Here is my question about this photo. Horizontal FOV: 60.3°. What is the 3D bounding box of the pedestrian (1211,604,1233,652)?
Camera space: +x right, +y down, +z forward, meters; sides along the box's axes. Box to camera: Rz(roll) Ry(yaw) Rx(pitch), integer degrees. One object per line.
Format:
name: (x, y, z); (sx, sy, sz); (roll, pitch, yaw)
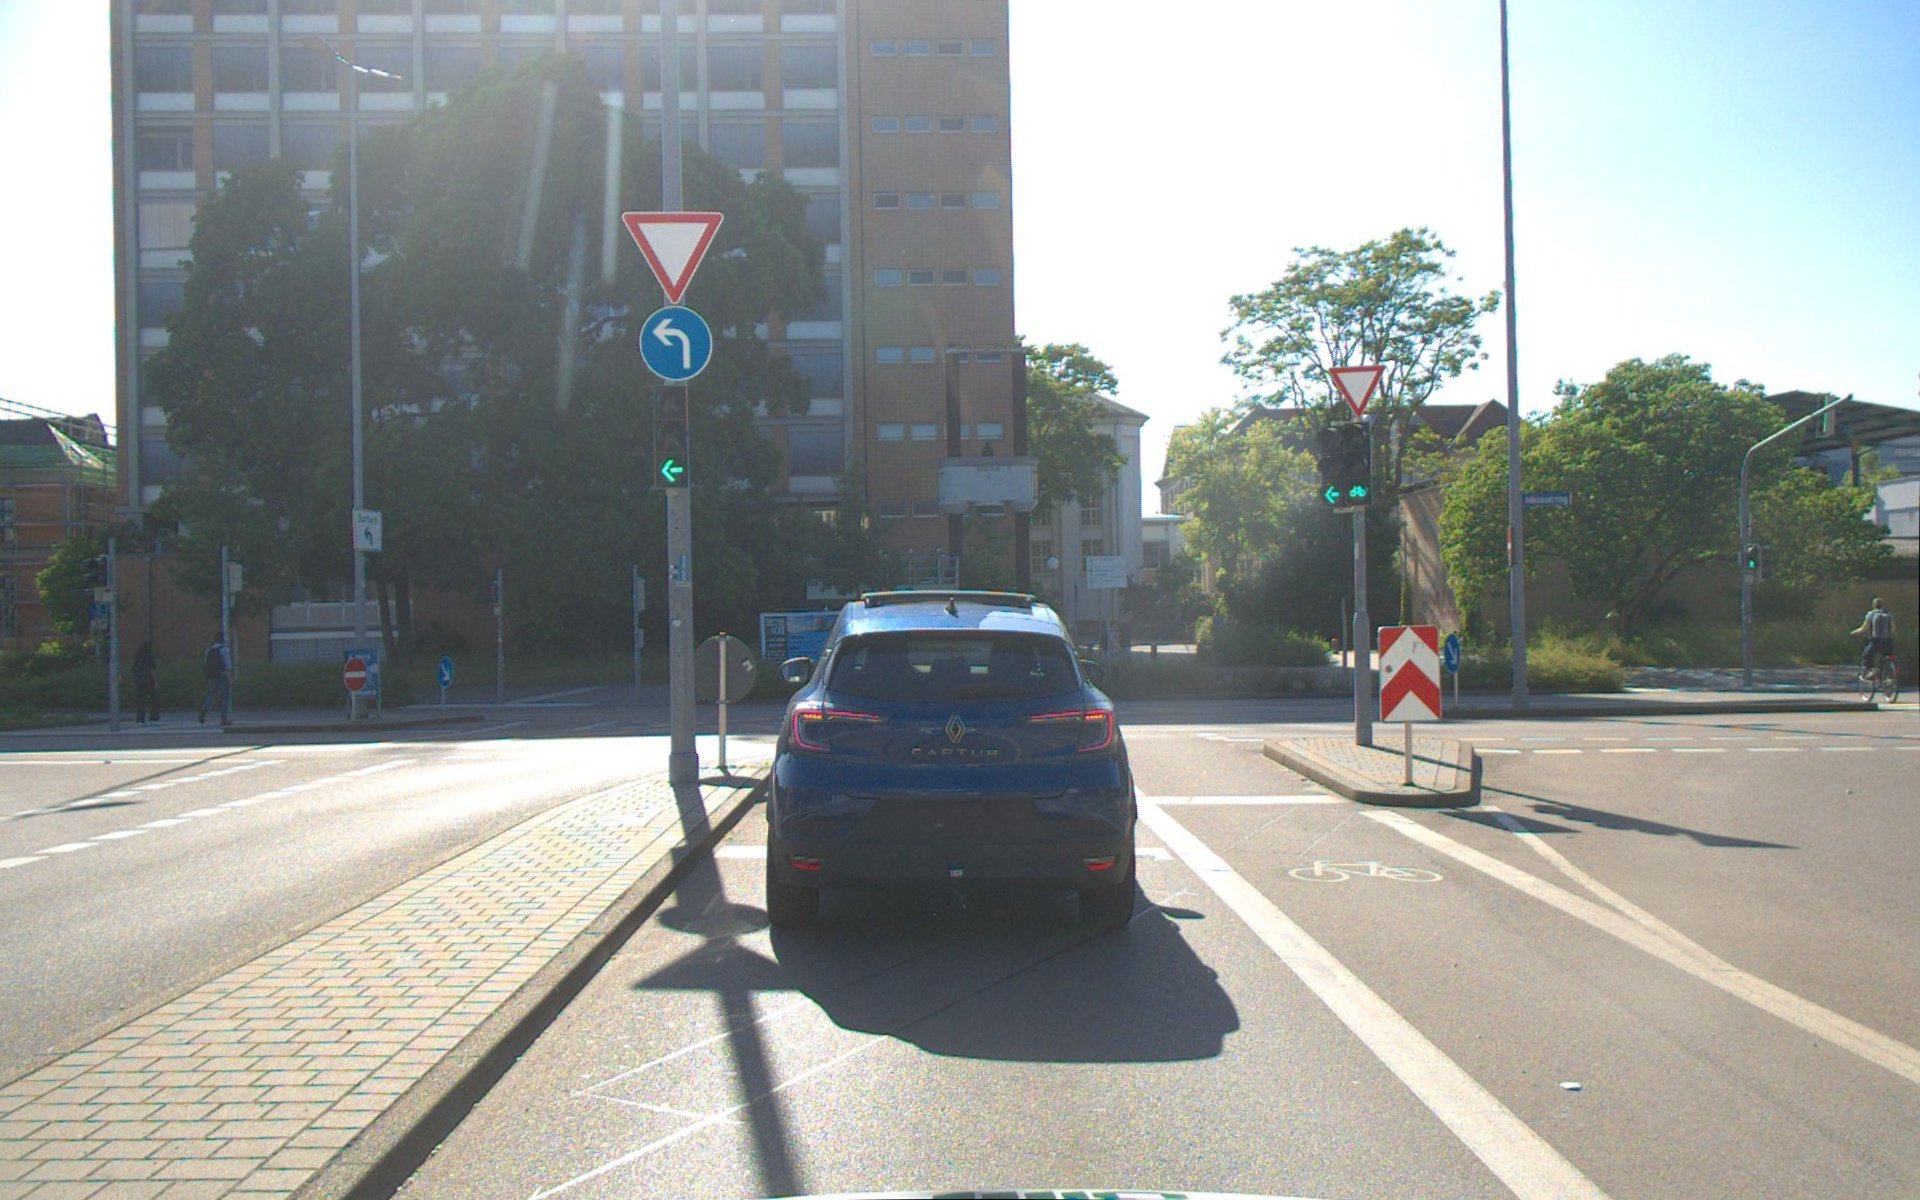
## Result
pedestrian: (9.180, 0.973, 57.939); (0.661, 1.672, 0.736); (1, -1, 17)

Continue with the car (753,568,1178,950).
car: (0.001, 0.717, 9.161); (1.838, 1.646, 3.796); (1, -1, -1)

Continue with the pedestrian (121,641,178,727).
pedestrian: (-15.831, 1.636, 32.312); (0.702, 1.641, 0.682); (-2, -2, 16)

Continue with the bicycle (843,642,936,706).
bicycle: (-1.381, 1.426, 32.161); (1.839, 1.185, 0.743); (-2, -1, 45)

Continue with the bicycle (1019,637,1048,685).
bicycle: (1.959, 1.610, 44.012); (0.730, 1.185, 1.870); (-1, -1, 2)

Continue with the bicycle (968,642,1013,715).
bicycle: (0.525, 1.346, 28.898); (0.701, 1.185, 1.870); (-1, -1, -1)

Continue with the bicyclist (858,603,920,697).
bicyclist: (-1.383, 0.958, 32.160); (0.961, 1.793, 0.717); (-2, -1, 44)

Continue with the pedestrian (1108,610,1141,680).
pedestrian: (4.324, 1.191, 43.571); (0.718, 1.813, 0.732); (1, -1, 16)

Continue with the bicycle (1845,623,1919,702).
bicycle: (15.411, 1.021, 27.519); (0.627, 1.185, 1.872); (-2, 1, 10)

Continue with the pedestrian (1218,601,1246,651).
pedestrian: (9.071, 0.862, 55.118); (0.664, 1.672, 0.732); (0, -1, 38)

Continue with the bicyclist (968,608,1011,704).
bicyclist: (0.513, 0.974, 28.990); (0.705, 1.645, 0.977); (-1, -1, -1)

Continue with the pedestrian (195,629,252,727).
pedestrian: (-14.339, 1.511, 32.242); (0.740, 1.865, 1.093); (-1, -2, -9)

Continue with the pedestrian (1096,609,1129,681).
pedestrian: (3.950, 1.165, 42.828); (0.718, 1.848, 0.732); (1, -1, 16)

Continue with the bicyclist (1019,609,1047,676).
bicyclist: (1.947, 1.123, 44.008); (0.704, 1.765, 0.978); (-1, -1, 2)

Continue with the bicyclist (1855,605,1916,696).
bicyclist: (15.414, 0.835, 27.570); (0.627, 1.469, 0.777); (-2, 1, 10)
